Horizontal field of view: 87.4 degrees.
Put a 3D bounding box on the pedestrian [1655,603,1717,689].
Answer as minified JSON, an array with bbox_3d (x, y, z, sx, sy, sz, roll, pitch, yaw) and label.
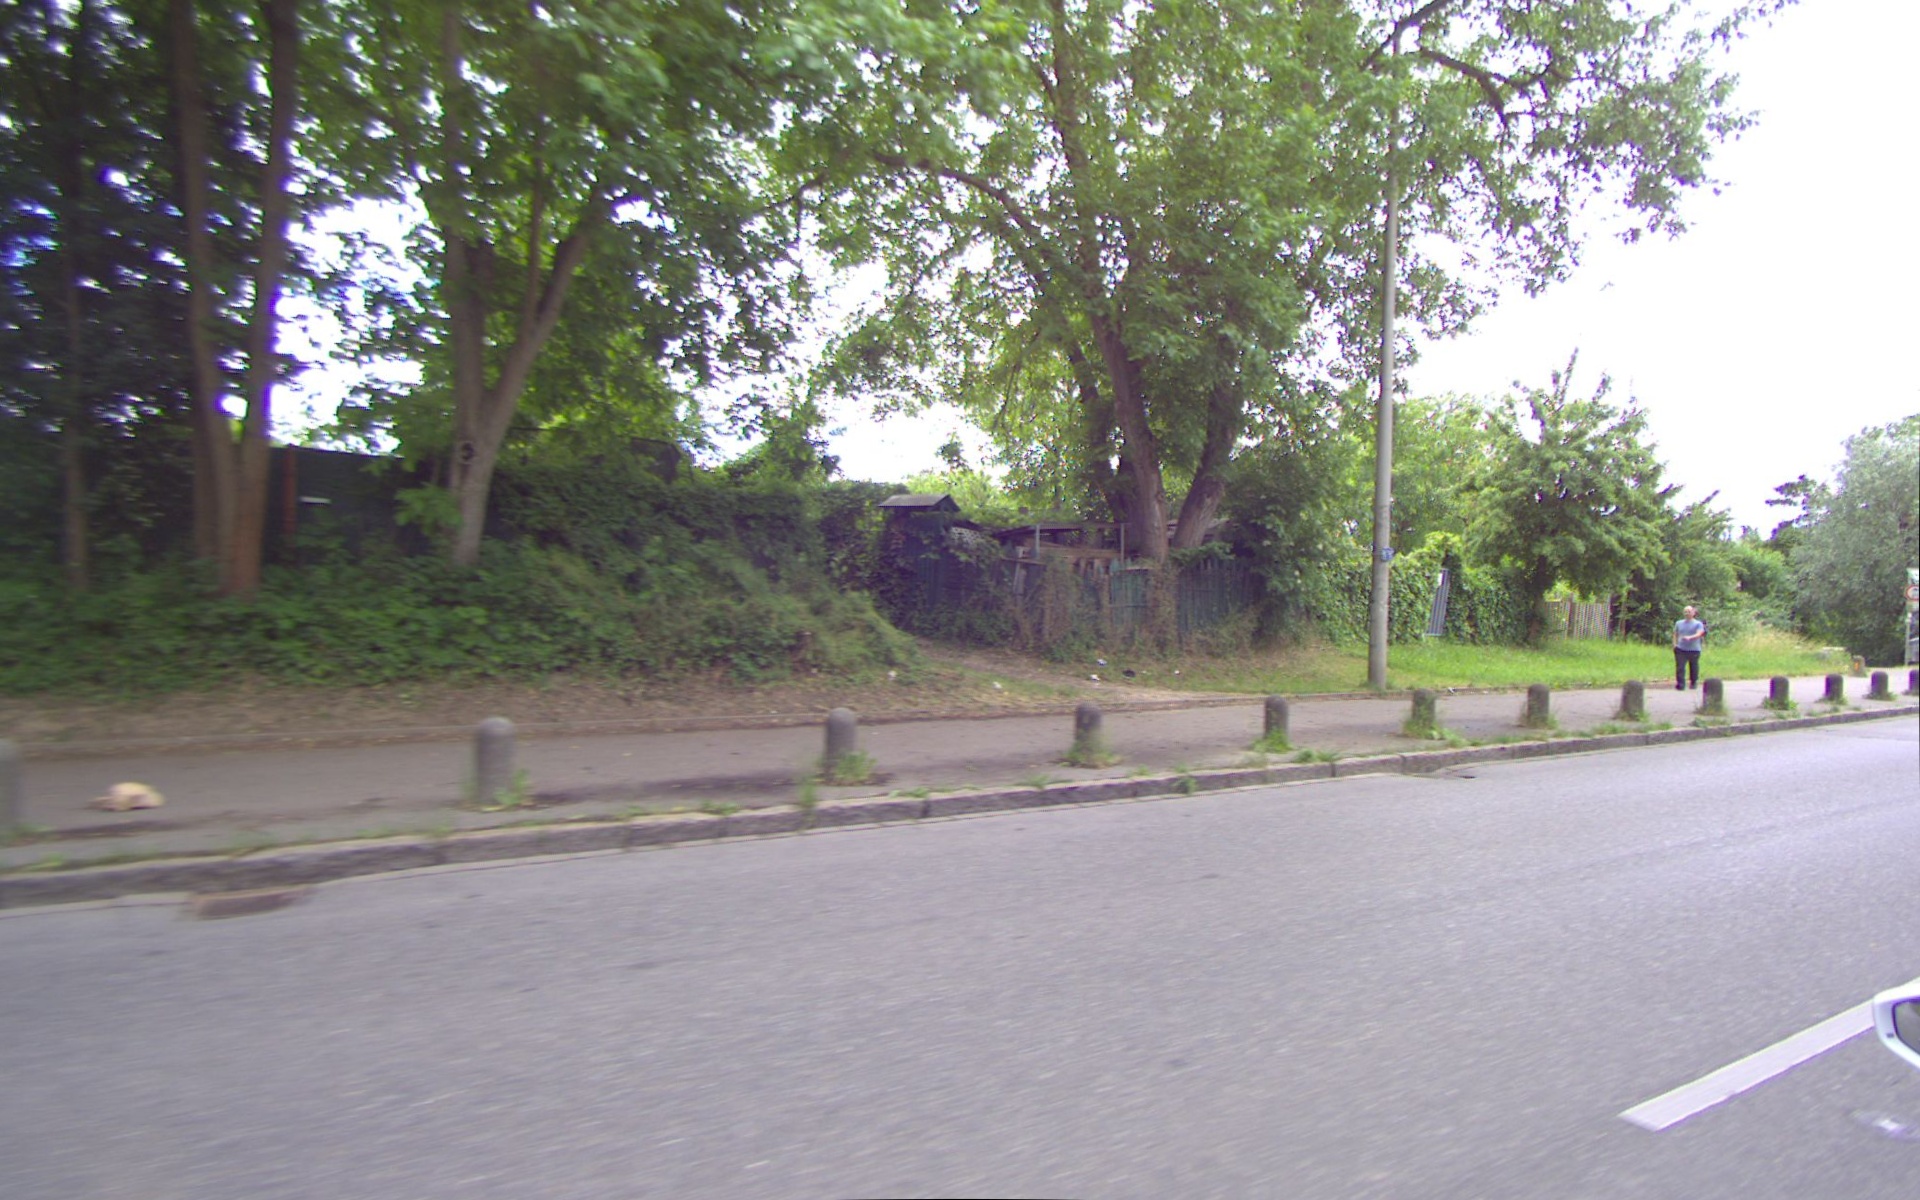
[{"bbox_3d":[14.604,0.914,20.210,0.828,1.656,0.686,1,2,-31],"label":"pedestrian"}]
